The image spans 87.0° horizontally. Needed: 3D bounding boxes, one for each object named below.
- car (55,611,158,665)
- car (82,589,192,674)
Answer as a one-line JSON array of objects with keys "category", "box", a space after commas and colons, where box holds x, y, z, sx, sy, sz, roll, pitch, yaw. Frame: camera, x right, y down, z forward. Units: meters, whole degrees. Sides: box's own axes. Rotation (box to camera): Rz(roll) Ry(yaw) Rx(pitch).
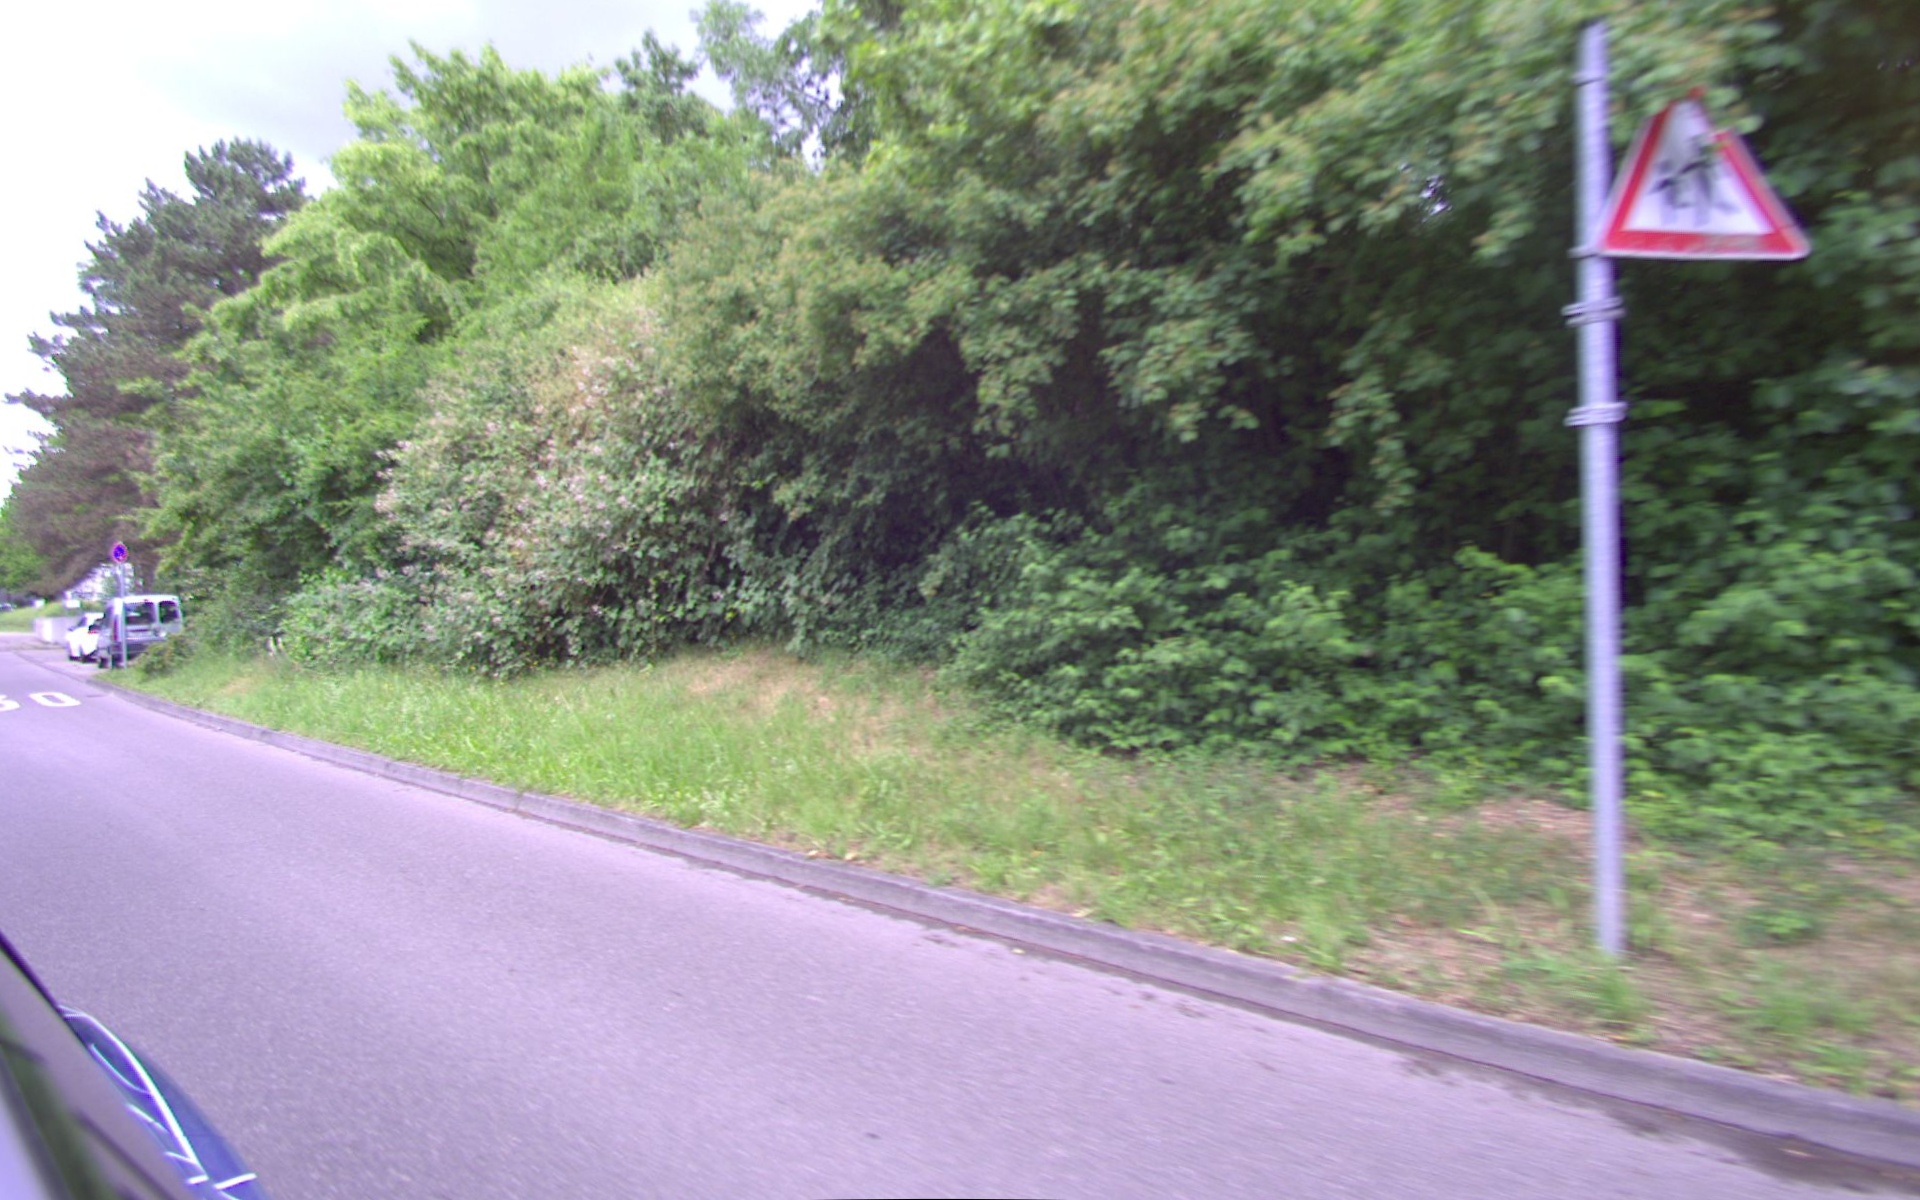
[{"category": "car", "box": [-25.899, 1.127, 30.655, 4.371, 1.413, 1.786, -2, 2, 43]}, {"category": "car", "box": [-21.210, 0.793, 26.014, 1.701, 1.935, 4.107, -5, 2, -45]}]
